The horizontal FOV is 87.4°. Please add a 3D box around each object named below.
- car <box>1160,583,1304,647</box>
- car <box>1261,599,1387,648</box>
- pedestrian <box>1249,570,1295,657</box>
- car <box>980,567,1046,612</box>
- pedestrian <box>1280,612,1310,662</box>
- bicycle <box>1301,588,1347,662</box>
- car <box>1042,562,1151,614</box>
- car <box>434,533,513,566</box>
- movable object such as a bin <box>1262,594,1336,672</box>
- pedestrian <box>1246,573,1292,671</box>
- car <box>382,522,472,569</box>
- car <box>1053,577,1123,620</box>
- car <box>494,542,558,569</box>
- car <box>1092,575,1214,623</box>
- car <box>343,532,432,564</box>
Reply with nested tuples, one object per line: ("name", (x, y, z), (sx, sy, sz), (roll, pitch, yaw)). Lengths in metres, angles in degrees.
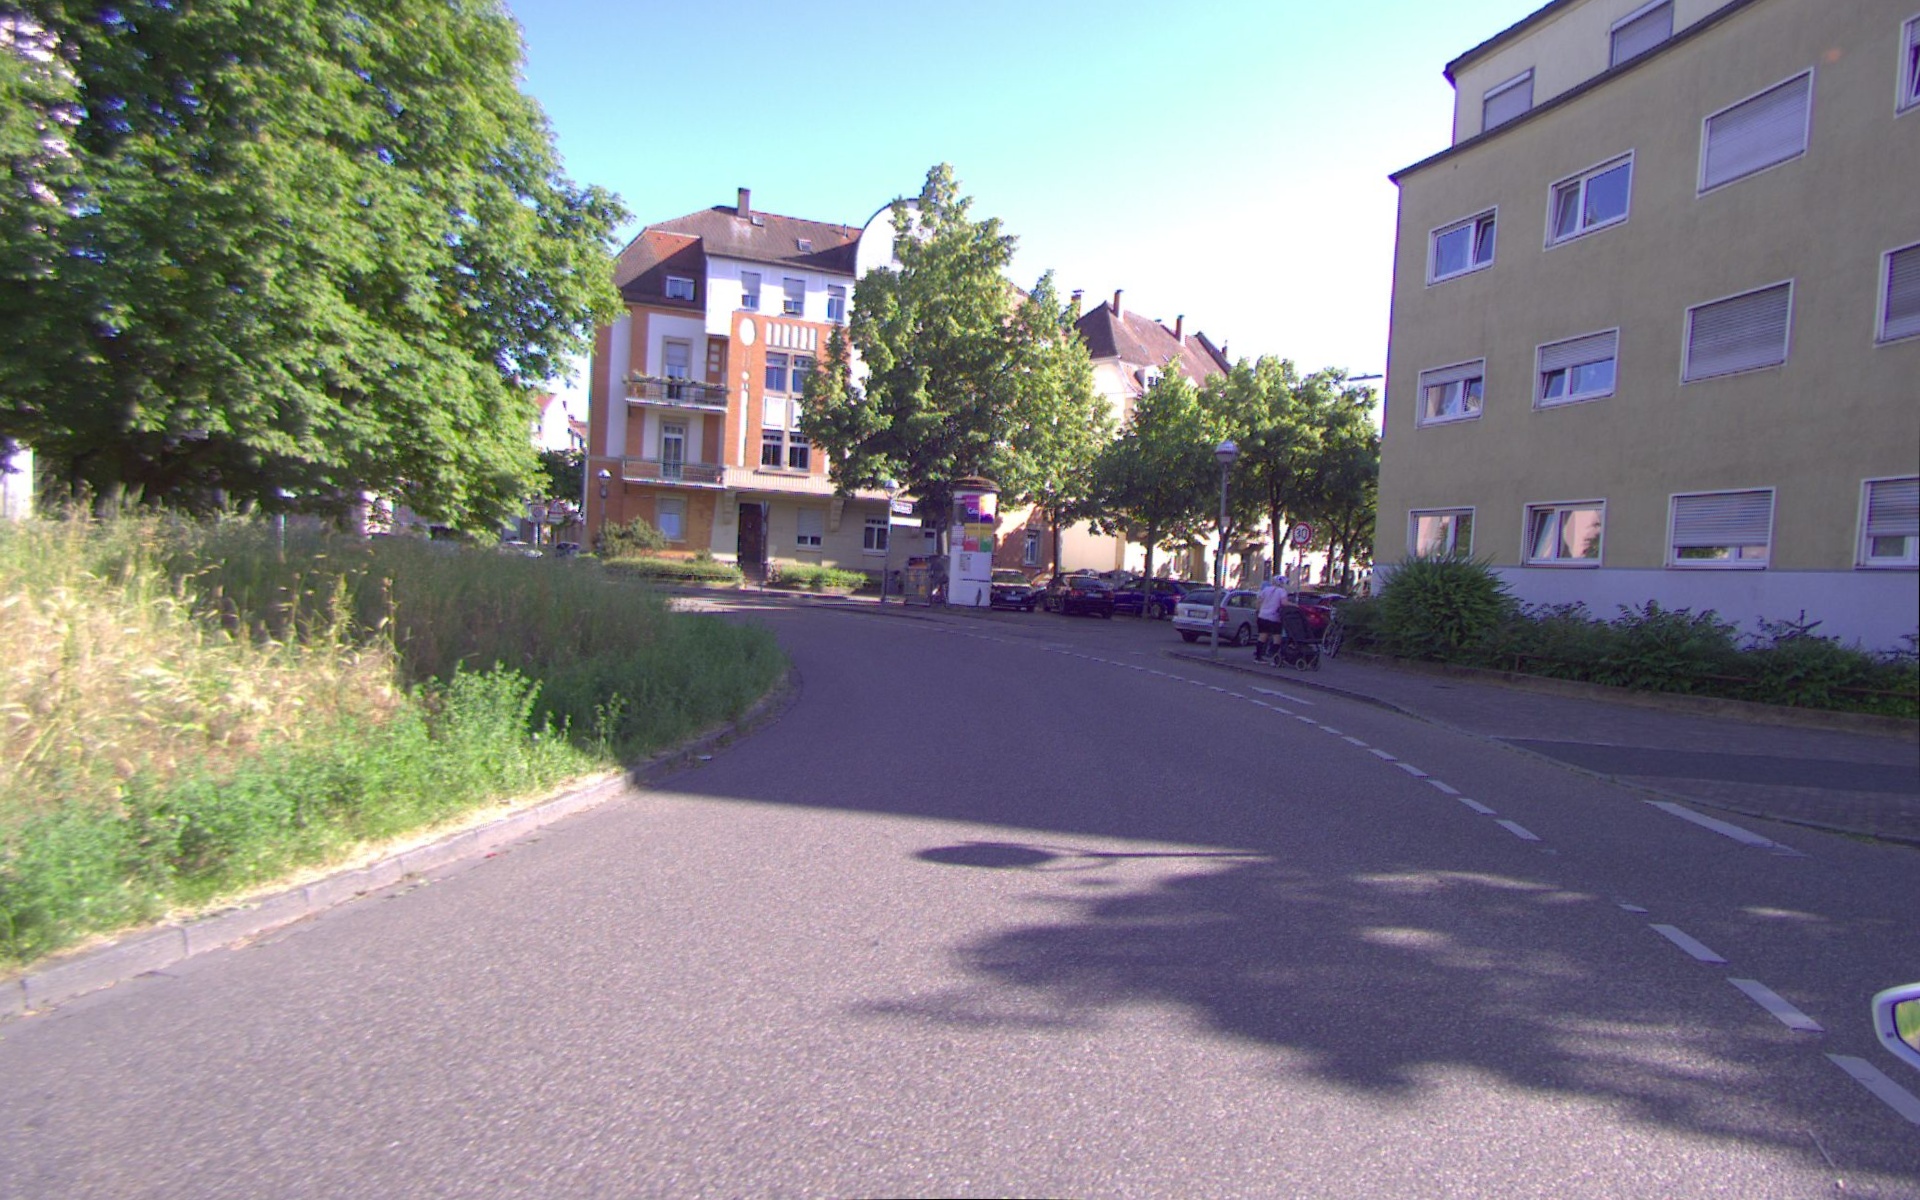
("car", (7.131, 0.399, 26.116), (1.871, 1.463, 3.975), (5, 2, 44))
("car", (10.836, 0.687, 29.777), (3.974, 1.228, 1.973), (2, 2, -45))
("pedestrian", (6.109, 0.259, 19.694), (0.732, 1.637, 0.758), (4, 2, 15))
("car", (1.851, -0.392, 36.233), (1.961, 1.417, 3.998), (3, 1, -2))
("pedestrian", (6.358, 0.695, 19.039), (0.446, 0.887, 0.431), (4, 2, 24))
("bicycle", (7.446, 0.472, 20.503), (0.740, 1.370, 2.435), (4, 1, 21))
("car", (5.624, -0.510, 41.525), (3.941, 1.906, 1.990), (5, 2, 42))
("car", (-26.326, -2.739, 54.326), (3.924, 1.500, 1.743), (4, 2, 25))
("movable object such as a bin", (5.647, 0.542, 16.756), (0.758, 1.212, 0.840), (3, 2, -20))
("pedestrian", (5.377, 0.370, 17.499), (0.652, 1.637, 0.697), (4, 2, 18))
("car", (-25.636, -2.625, 48.303), (3.929, 2.040, 1.996), (4, 2, 30))
("car", (4.413, -0.094, 35.201), (1.676, 1.302, 4.256), (3, 1, -2))
("car", (-29.294, -3.001, 67.770), (3.924, 1.500, 1.743), (4, 2, 25))
("car", (6.961, -0.060, 36.616), (1.695, 1.443, 4.209), (2, 2, -39))
("car", (-25.963, -2.365, 45.535), (3.929, 1.194, 1.765), (4, 2, 31))
